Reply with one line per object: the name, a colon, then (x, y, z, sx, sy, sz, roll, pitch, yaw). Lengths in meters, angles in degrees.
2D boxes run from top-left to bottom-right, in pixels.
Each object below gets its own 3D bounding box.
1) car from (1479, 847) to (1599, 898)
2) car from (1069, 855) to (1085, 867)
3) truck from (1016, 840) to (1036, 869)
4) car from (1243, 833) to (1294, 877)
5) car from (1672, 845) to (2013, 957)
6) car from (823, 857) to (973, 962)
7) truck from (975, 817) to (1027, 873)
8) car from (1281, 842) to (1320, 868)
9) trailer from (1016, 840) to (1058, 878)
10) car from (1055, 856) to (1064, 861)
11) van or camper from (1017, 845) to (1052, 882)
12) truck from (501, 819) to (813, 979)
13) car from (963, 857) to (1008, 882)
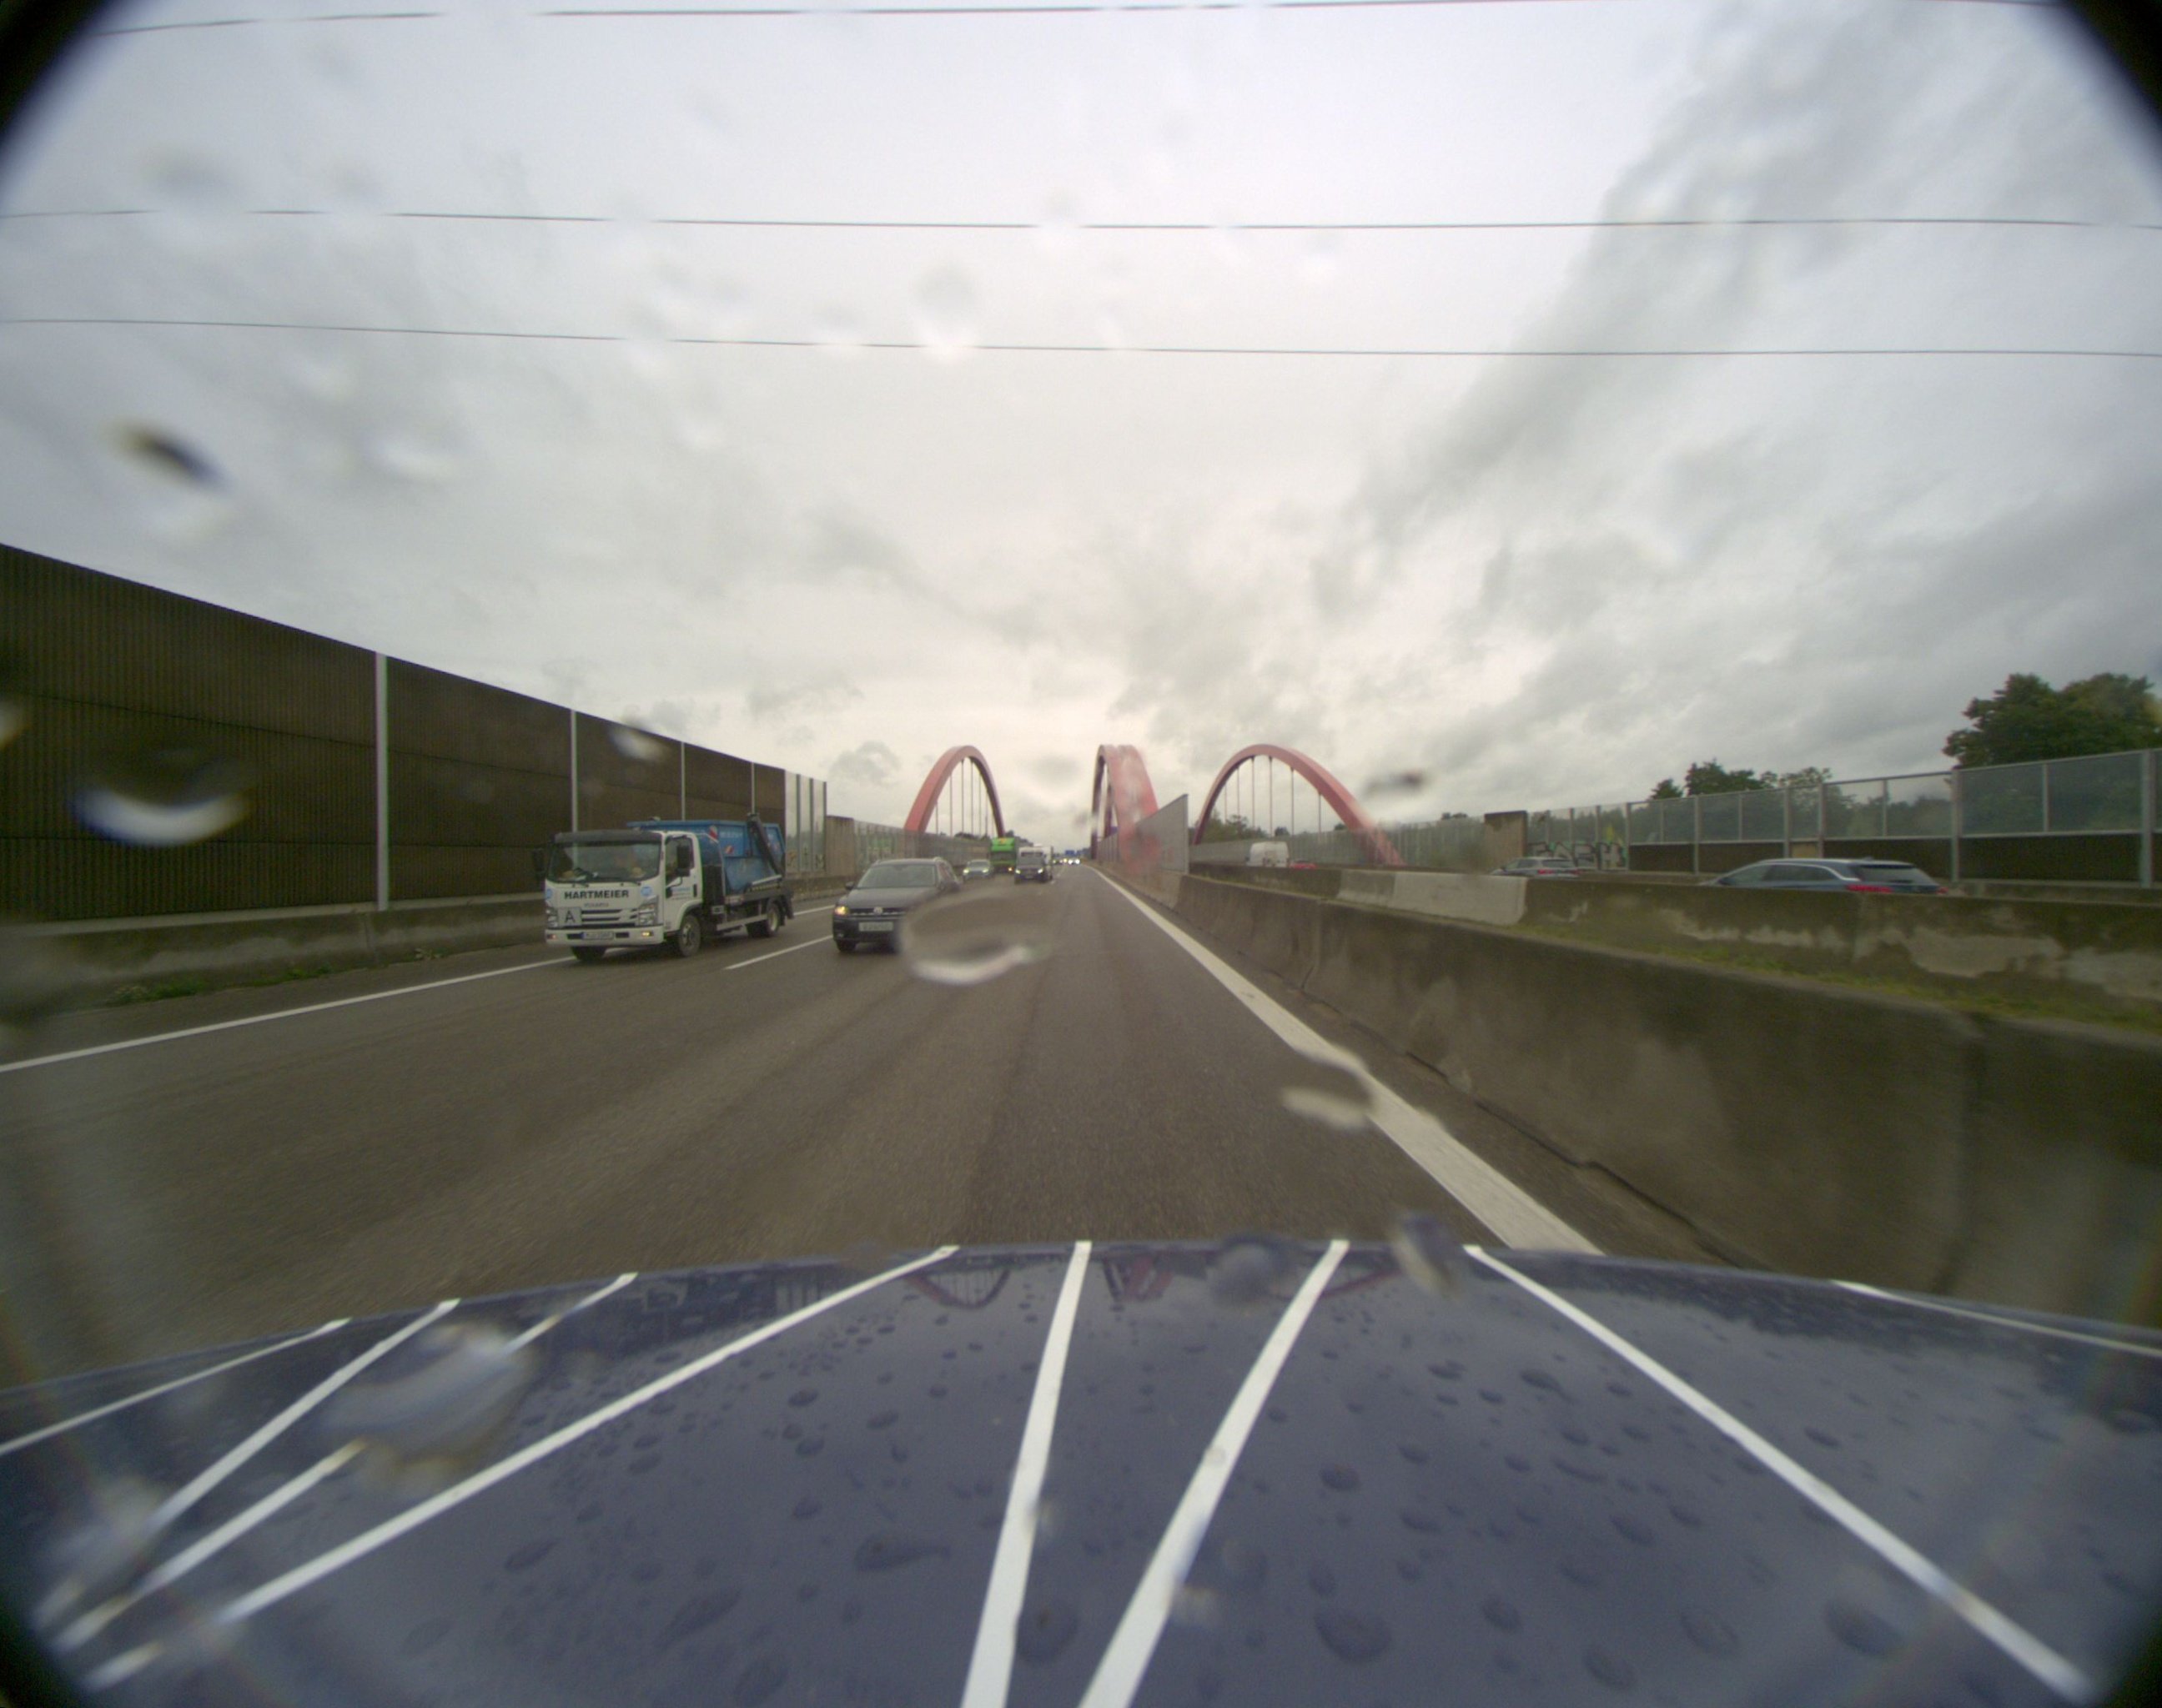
car: (18.988, 0.696, 31.826, 2.125, 1.617, 4.635, -2, 4, -1)
car: (-0.822, 1.469, 153.720, 2.681, 2.340, 5.806, -1, 0, -4)
truck: (-8.057, 0.020, 112.365, 2.821, 3.927, 12.708, -1, 0, -3)
car: (15.204, -0.011, 62.029, 2.224, 2.971, 7.070, -2, 4, -1)
car: (15.080, 0.798, 15.576, 2.224, 1.617, 4.635, -2, 4, -1)
car: (-3.346, 0.935, 14.746, 1.917, 1.660, 4.103, -2, 0, -1)
truck: (-8.145, -0.890, 79.231, 4.008, 5.235, 11.218, -2, 0, 0)
car: (18.197, 0.060, 63.084, 1.999, 2.002, 3.999, -3, 0, 0)
trailer: (-3.191, 0.338, 56.952, 2.728, 2.626, 7.511, -1, 0, -1)
car: (-4.799, 1.021, 170.765, 2.061, 1.020, 3.437, -3, 0, -2)
van or camper: (-3.008, 0.610, 50.373, 1.895, 2.256, 5.679, -1, 0, 0)
truck: (-7.835, 0.641, 15.158, 2.366, 2.492, 6.143, -2, 2, 4)
car: (-6.866, 1.079, 55.203, 1.998, 1.610, 5.329, -3, 0, 5)
